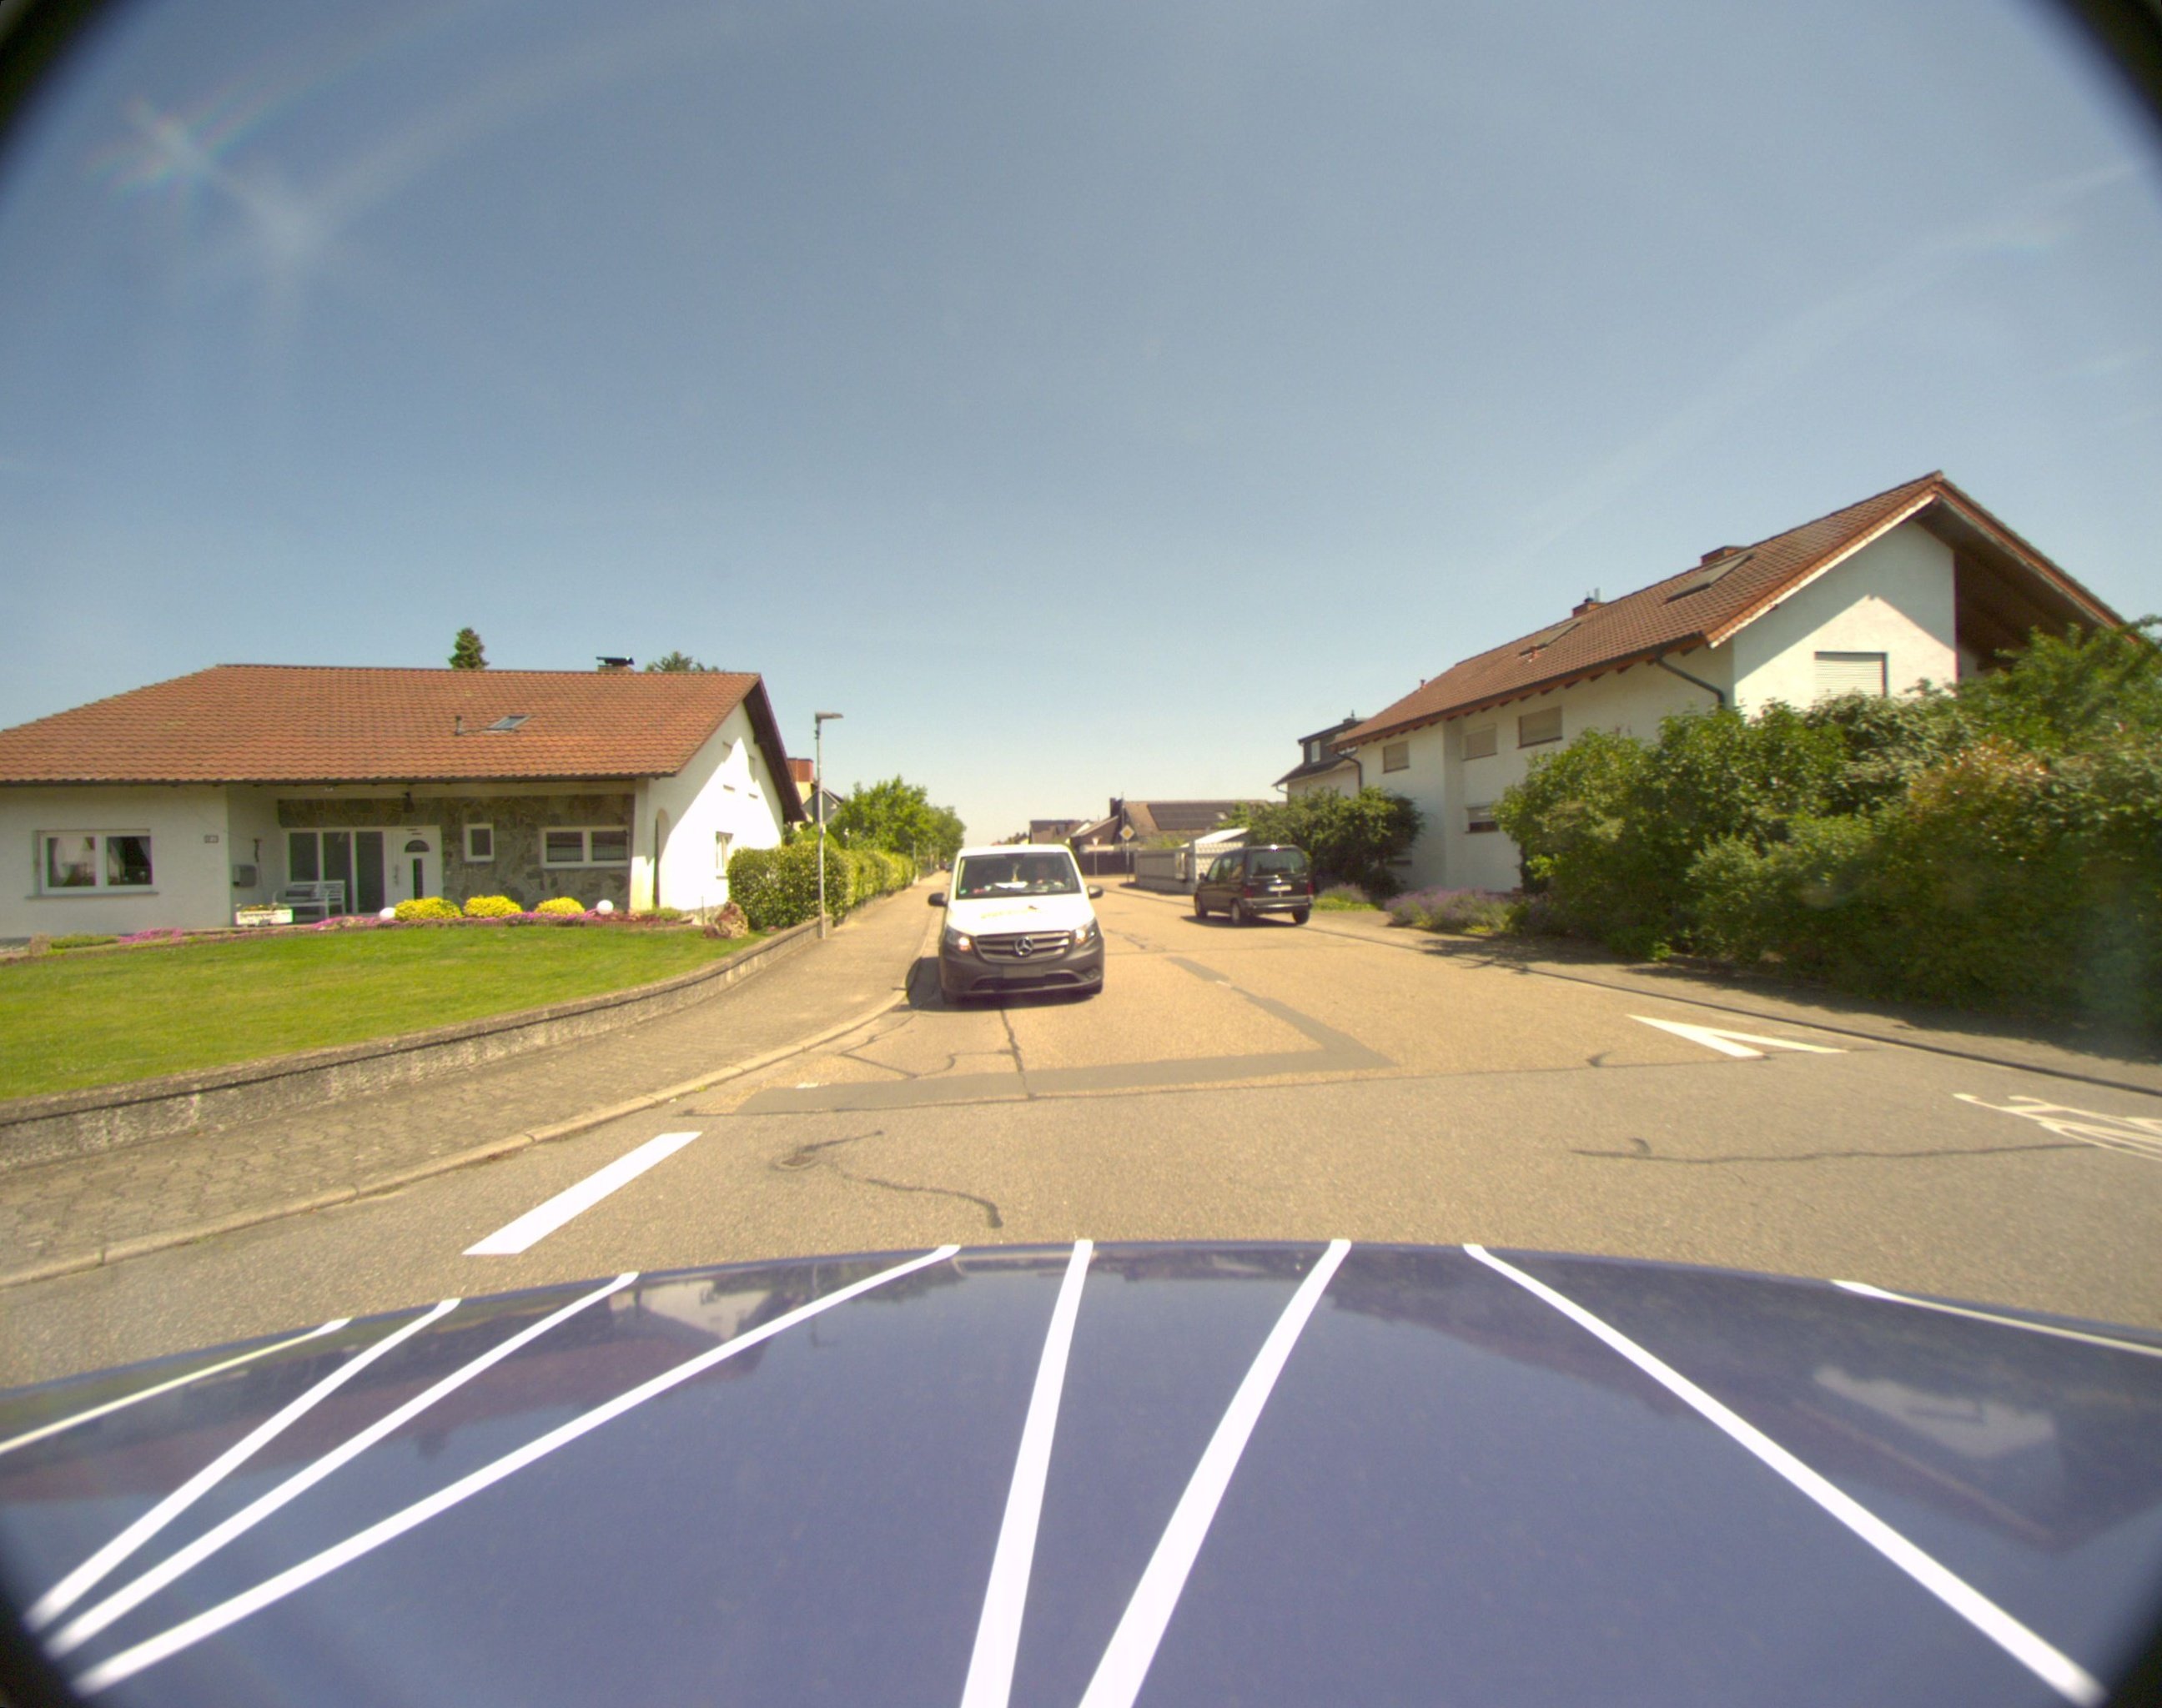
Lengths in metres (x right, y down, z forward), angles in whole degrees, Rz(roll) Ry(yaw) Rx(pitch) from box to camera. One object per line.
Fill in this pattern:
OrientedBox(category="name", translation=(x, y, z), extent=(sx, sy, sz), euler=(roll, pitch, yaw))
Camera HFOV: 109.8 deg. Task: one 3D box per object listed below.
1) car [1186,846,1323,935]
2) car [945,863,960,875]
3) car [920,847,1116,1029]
OrientedBox(category="car", translation=(3.997, 0.764, 18.208), extent=(1.724, 1.835, 4.050), euler=(-2, 0, -10))
OrientedBox(category="car", translation=(-19.044, 2.230, 113.065), extent=(2.000, 1.587, 3.997), euler=(-1, 1, -7))
OrientedBox(category="car", translation=(-0.941, 0.855, 10.514), extent=(2.019, 1.846, 5.064), euler=(-1, 1, -7))
